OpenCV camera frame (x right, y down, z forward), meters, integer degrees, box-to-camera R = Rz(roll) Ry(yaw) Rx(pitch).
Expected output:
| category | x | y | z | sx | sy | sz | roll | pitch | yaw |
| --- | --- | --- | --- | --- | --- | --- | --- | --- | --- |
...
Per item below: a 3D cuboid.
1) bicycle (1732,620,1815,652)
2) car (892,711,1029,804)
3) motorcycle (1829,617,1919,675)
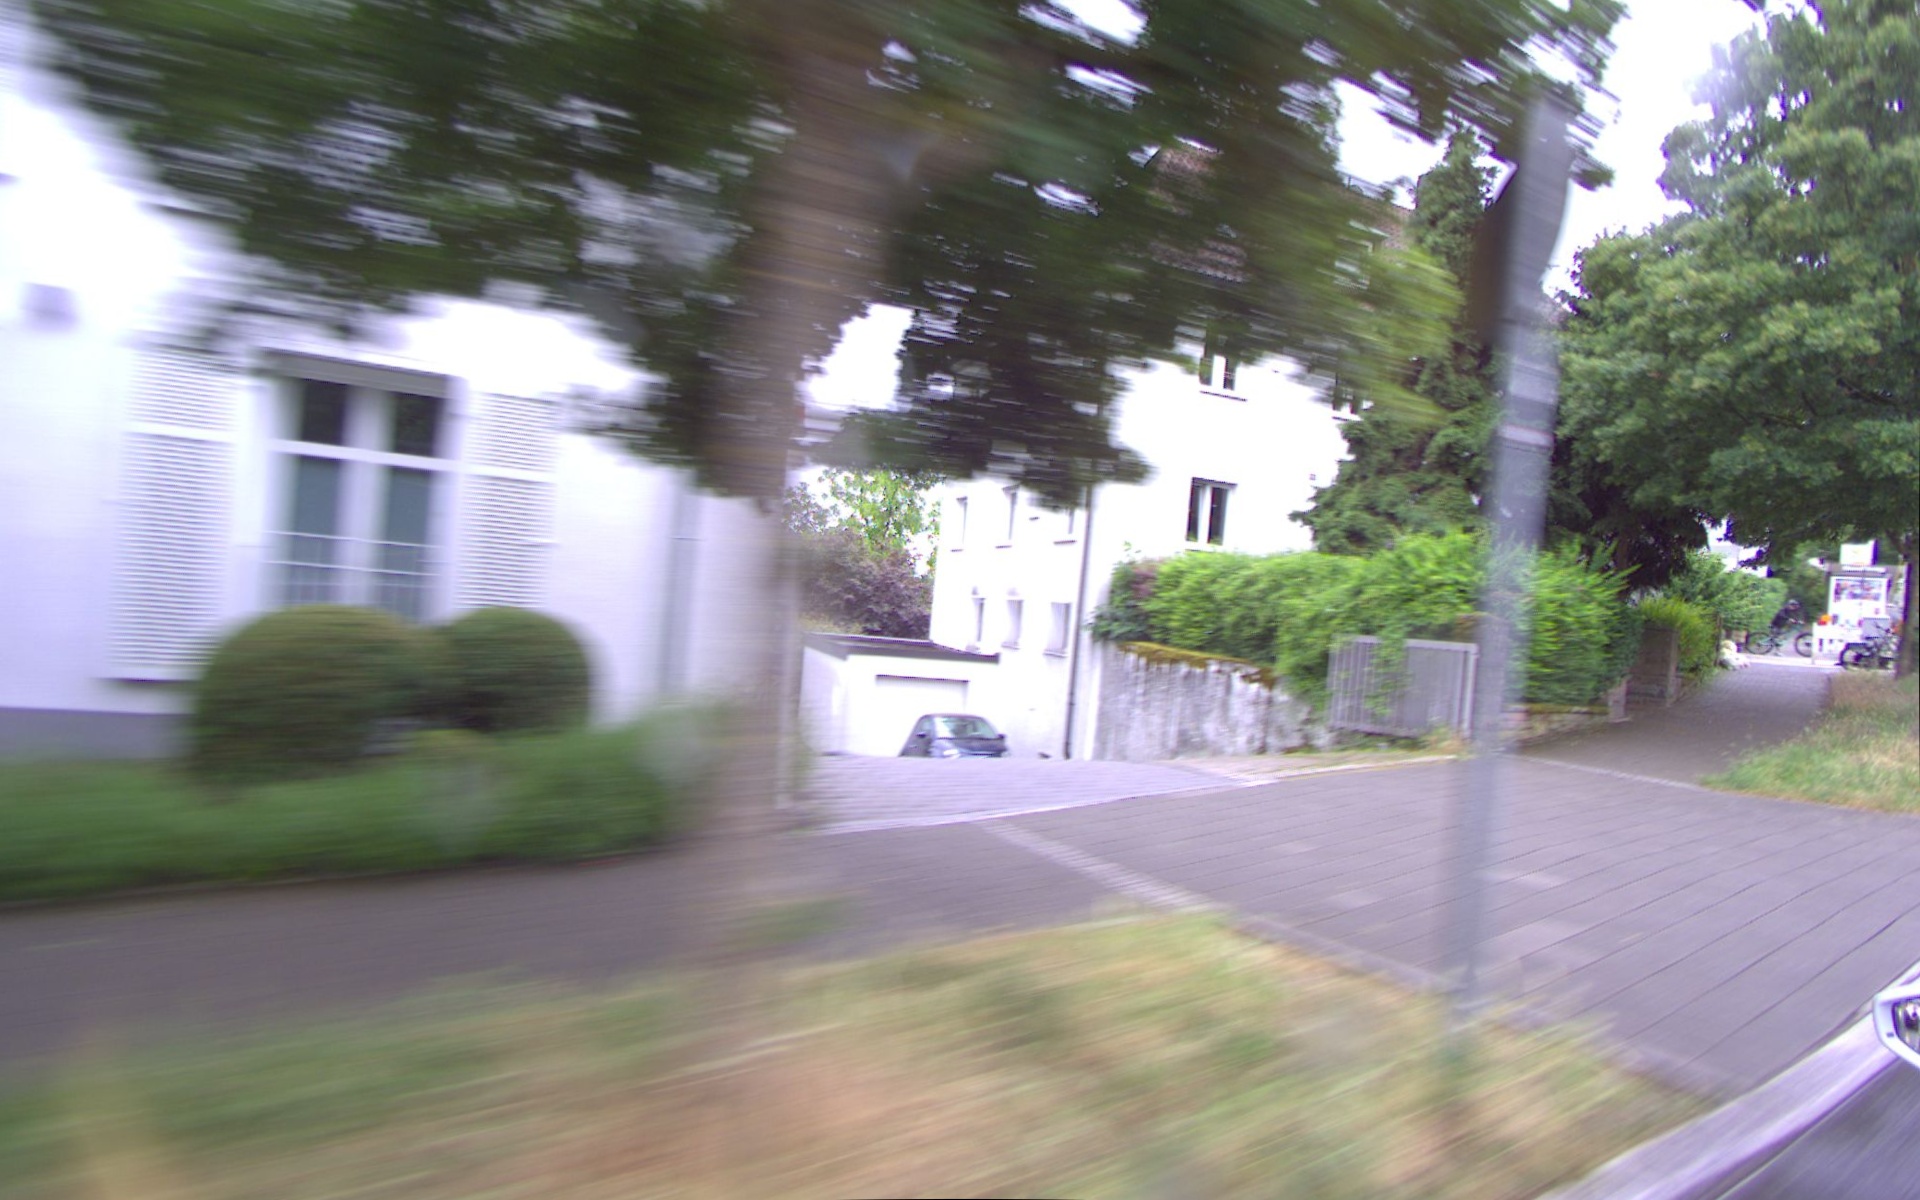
| category | x | y | z | sx | sy | sz | roll | pitch | yaw |
| --- | --- | --- | --- | --- | --- | --- | --- | --- | --- |
| bicycle | 26.866 | 1.186 | 33.198 | 2.122 | 1.016 | 0.633 | 0 | -2 | 41 |
| car | -0.088 | 3.027 | 19.877 | 1.617 | 1.460 | 3.485 | 1 | -4 | -20 |
| motorcycle | 22.016 | 1.086 | 23.420 | 2.570 | 1.250 | 0.885 | 3 | 1 | 44 |
